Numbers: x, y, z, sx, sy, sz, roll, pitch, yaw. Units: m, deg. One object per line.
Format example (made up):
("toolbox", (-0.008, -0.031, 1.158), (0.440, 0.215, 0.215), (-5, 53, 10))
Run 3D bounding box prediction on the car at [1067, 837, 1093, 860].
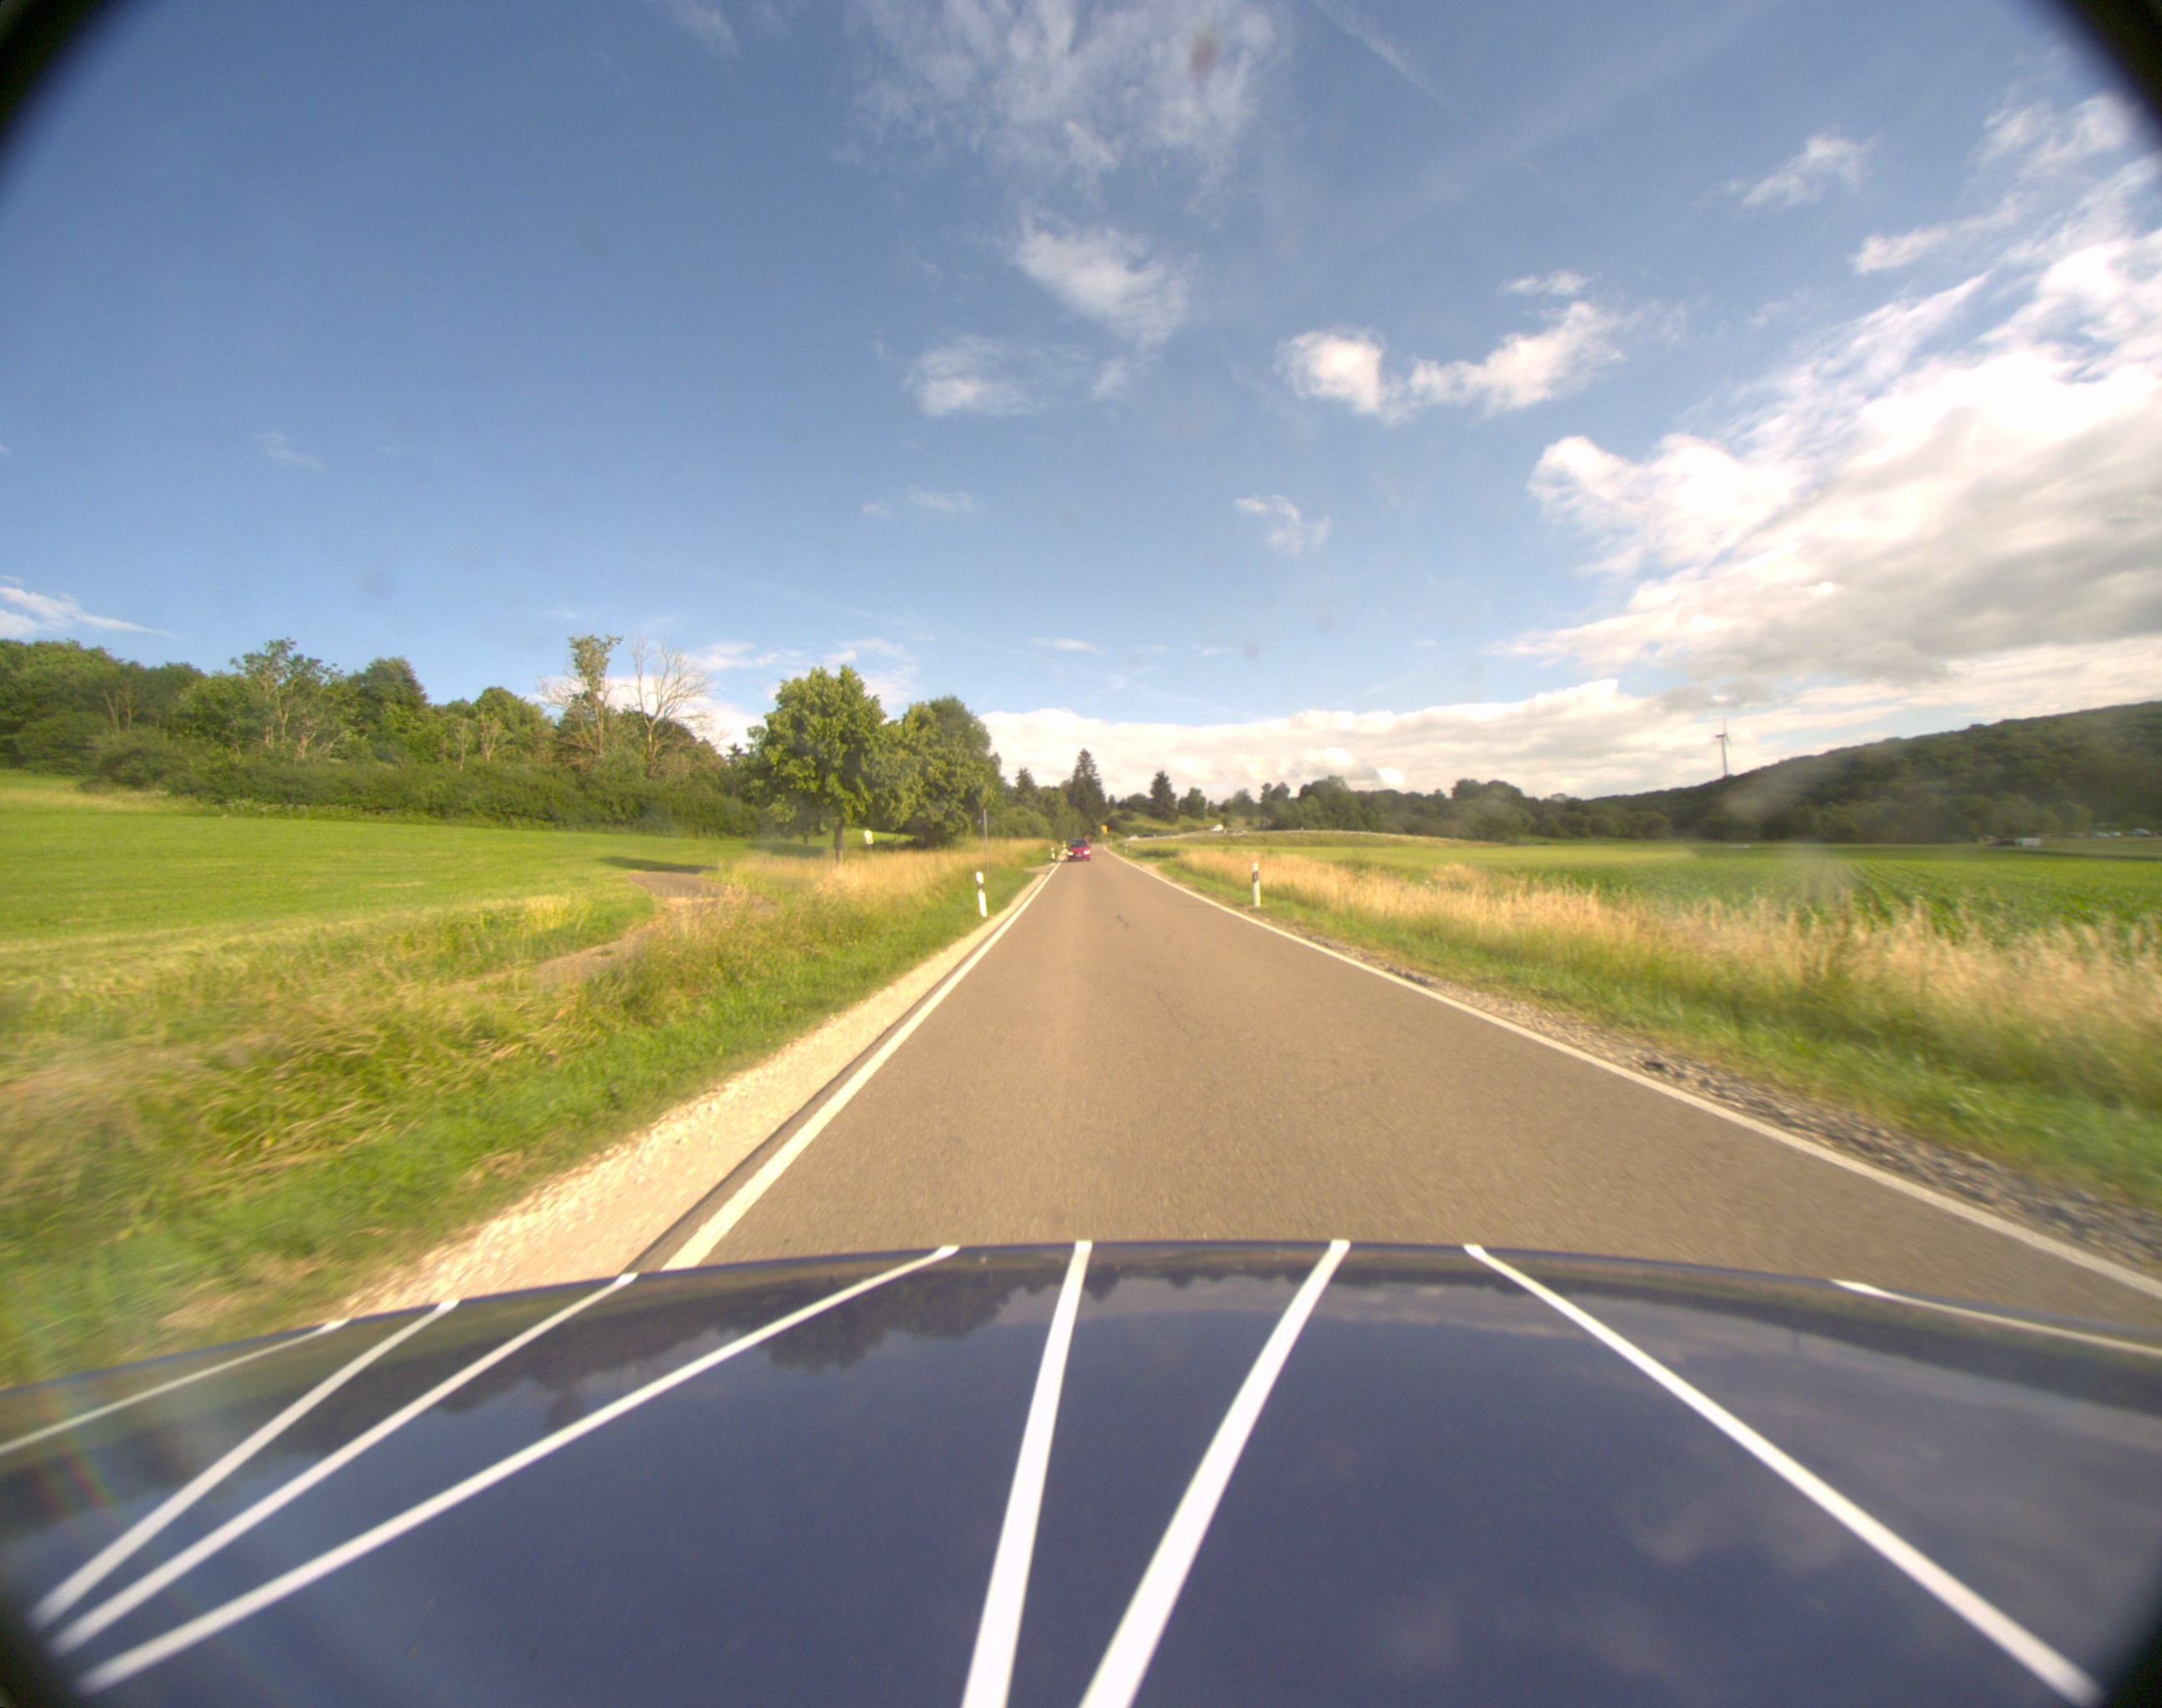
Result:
("car", (-0.140, -0.454, 61.634), (1.821, 1.646, 3.998), (-4, 2, -2))
